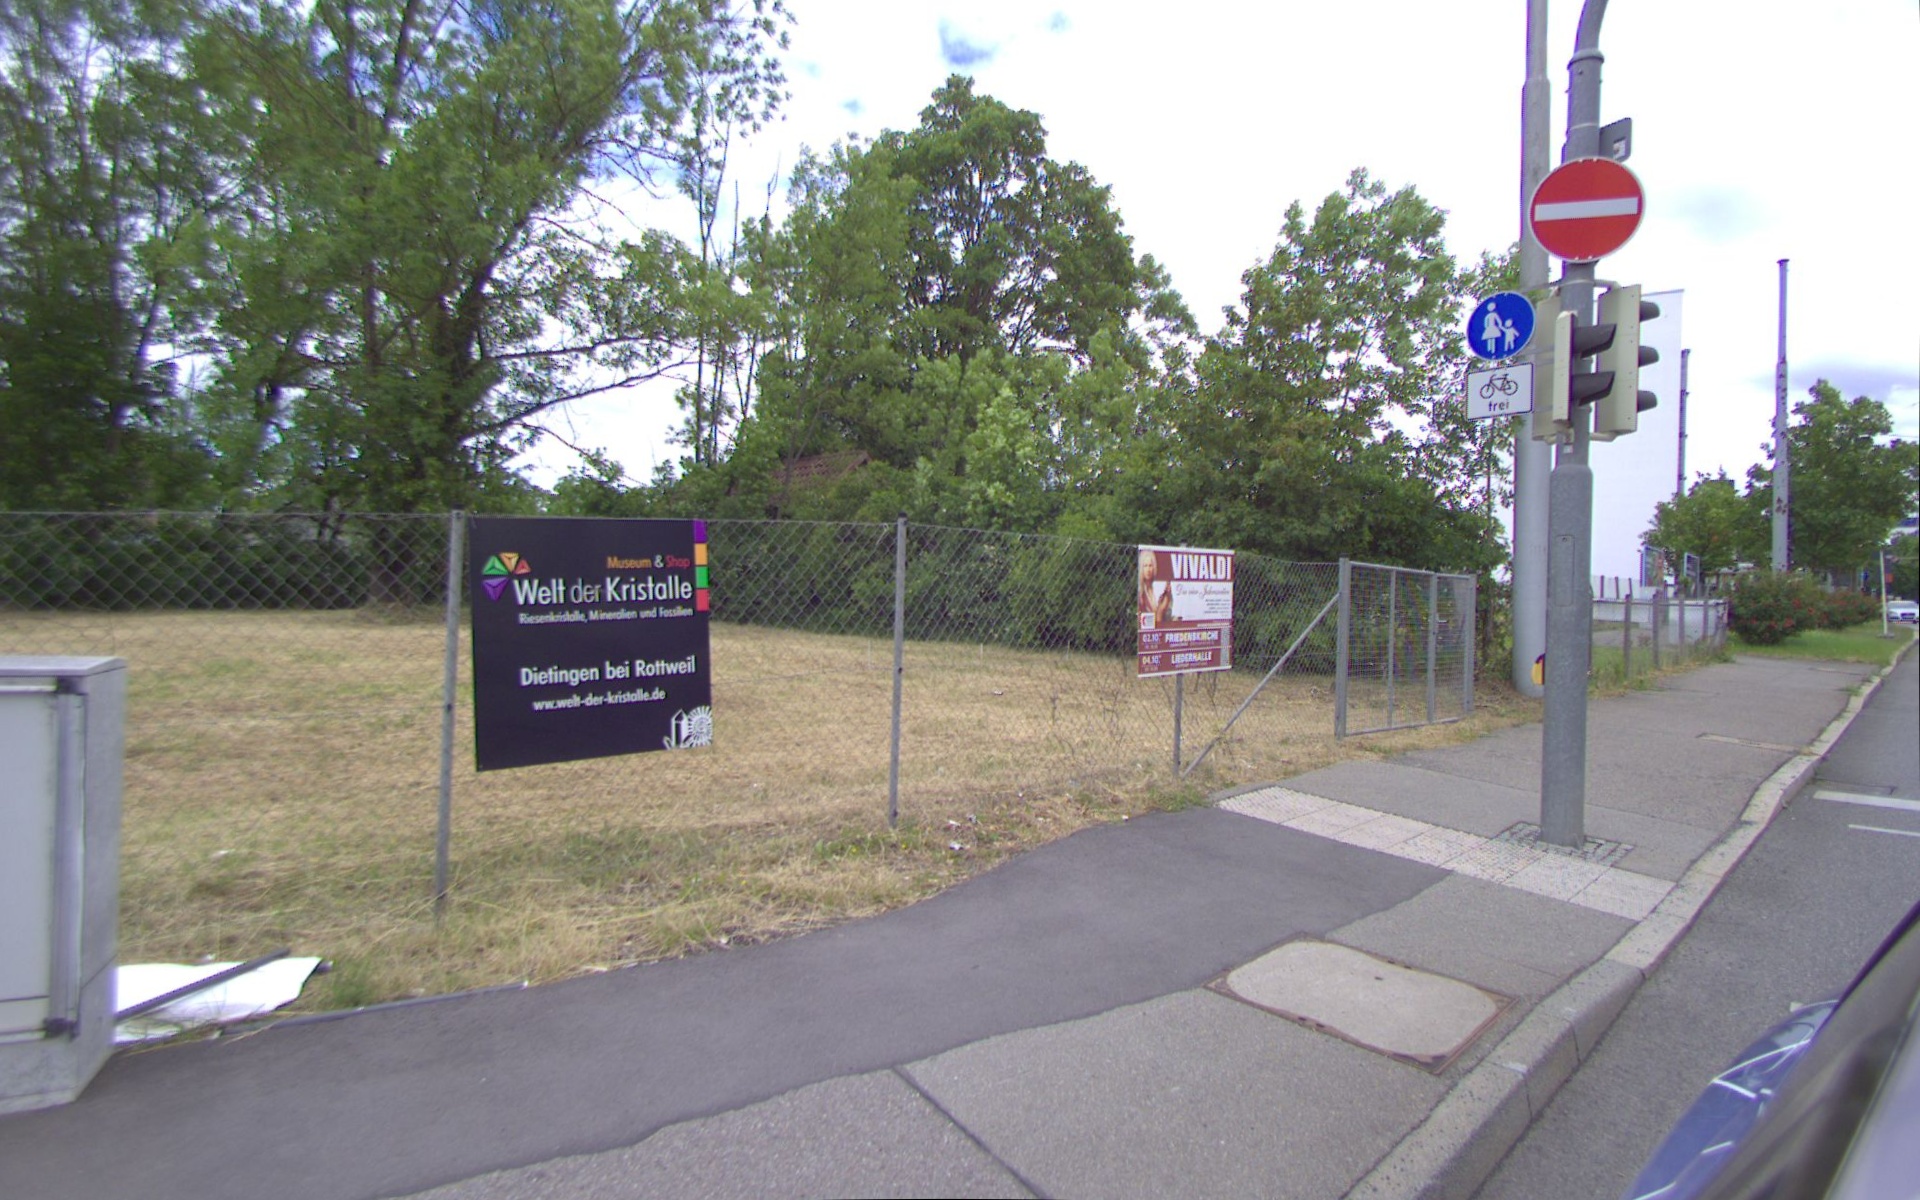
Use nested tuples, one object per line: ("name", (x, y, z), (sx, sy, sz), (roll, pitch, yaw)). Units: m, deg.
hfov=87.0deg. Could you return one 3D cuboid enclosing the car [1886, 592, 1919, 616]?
("car", (59.997, 0.225, 63.574), (1.986, 1.393, 3.953), (2, 2, 33))
